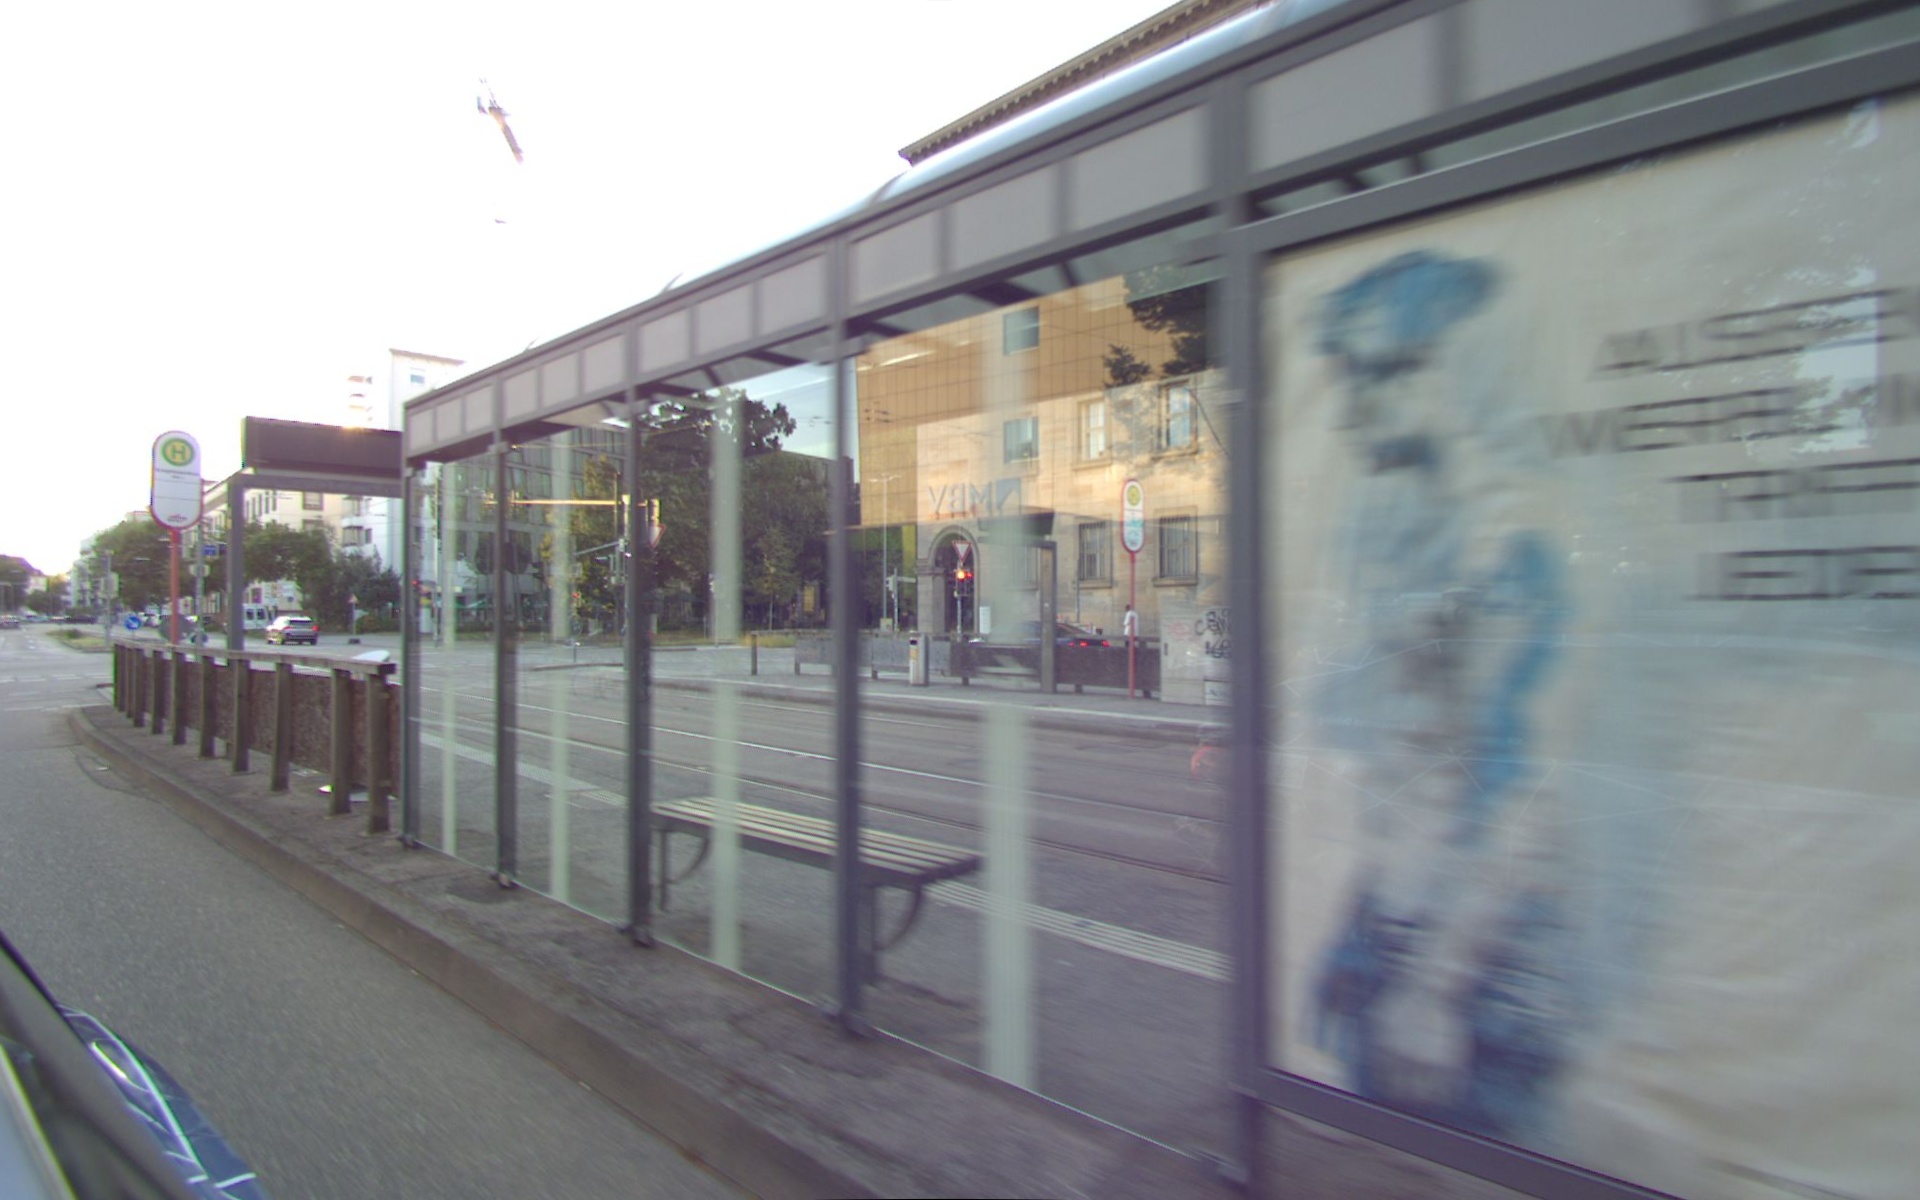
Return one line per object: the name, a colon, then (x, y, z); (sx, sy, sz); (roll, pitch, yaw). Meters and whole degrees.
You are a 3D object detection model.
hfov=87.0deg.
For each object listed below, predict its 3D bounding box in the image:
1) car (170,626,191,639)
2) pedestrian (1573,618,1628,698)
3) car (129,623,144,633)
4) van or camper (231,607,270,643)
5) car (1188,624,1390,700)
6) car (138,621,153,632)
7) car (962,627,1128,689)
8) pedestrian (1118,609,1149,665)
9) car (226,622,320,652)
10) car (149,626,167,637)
car: (-89.244, 3.715, 115.890); (1.696, 1.441, 3.815); (1, -2, -40)
pedestrian: (12.184, 1.094, 19.252); (0.467, 1.482, 0.777); (1, -2, -44)
car: (-126.457, 4.325, 155.444); (1.696, 1.441, 3.815); (1, -2, -40)
van or camper: (-57.780, 2.052, 82.369); (2.079, 2.702, 4.716); (0, -3, -42)
car: (6.829, 1.243, 21.245); (1.623, 1.438, 3.708); (1, -2, -44)
car: (-117.584, 3.852, 146.149); (1.696, 1.498, 3.816); (0, -1, -39)
car: (2.088, 1.417, 25.907); (1.623, 1.438, 4.236); (1, -2, -44)
pedestrian: (5.432, 1.148, 31.691); (0.687, 1.723, 0.647); (1, -2, -41)
car: (-39.377, 2.122, 58.079); (4.293, 1.676, 1.883); (0, -1, 7)
car: (-102.791, 4.012, 129.727); (1.696, 1.441, 3.815); (1, -2, -40)
